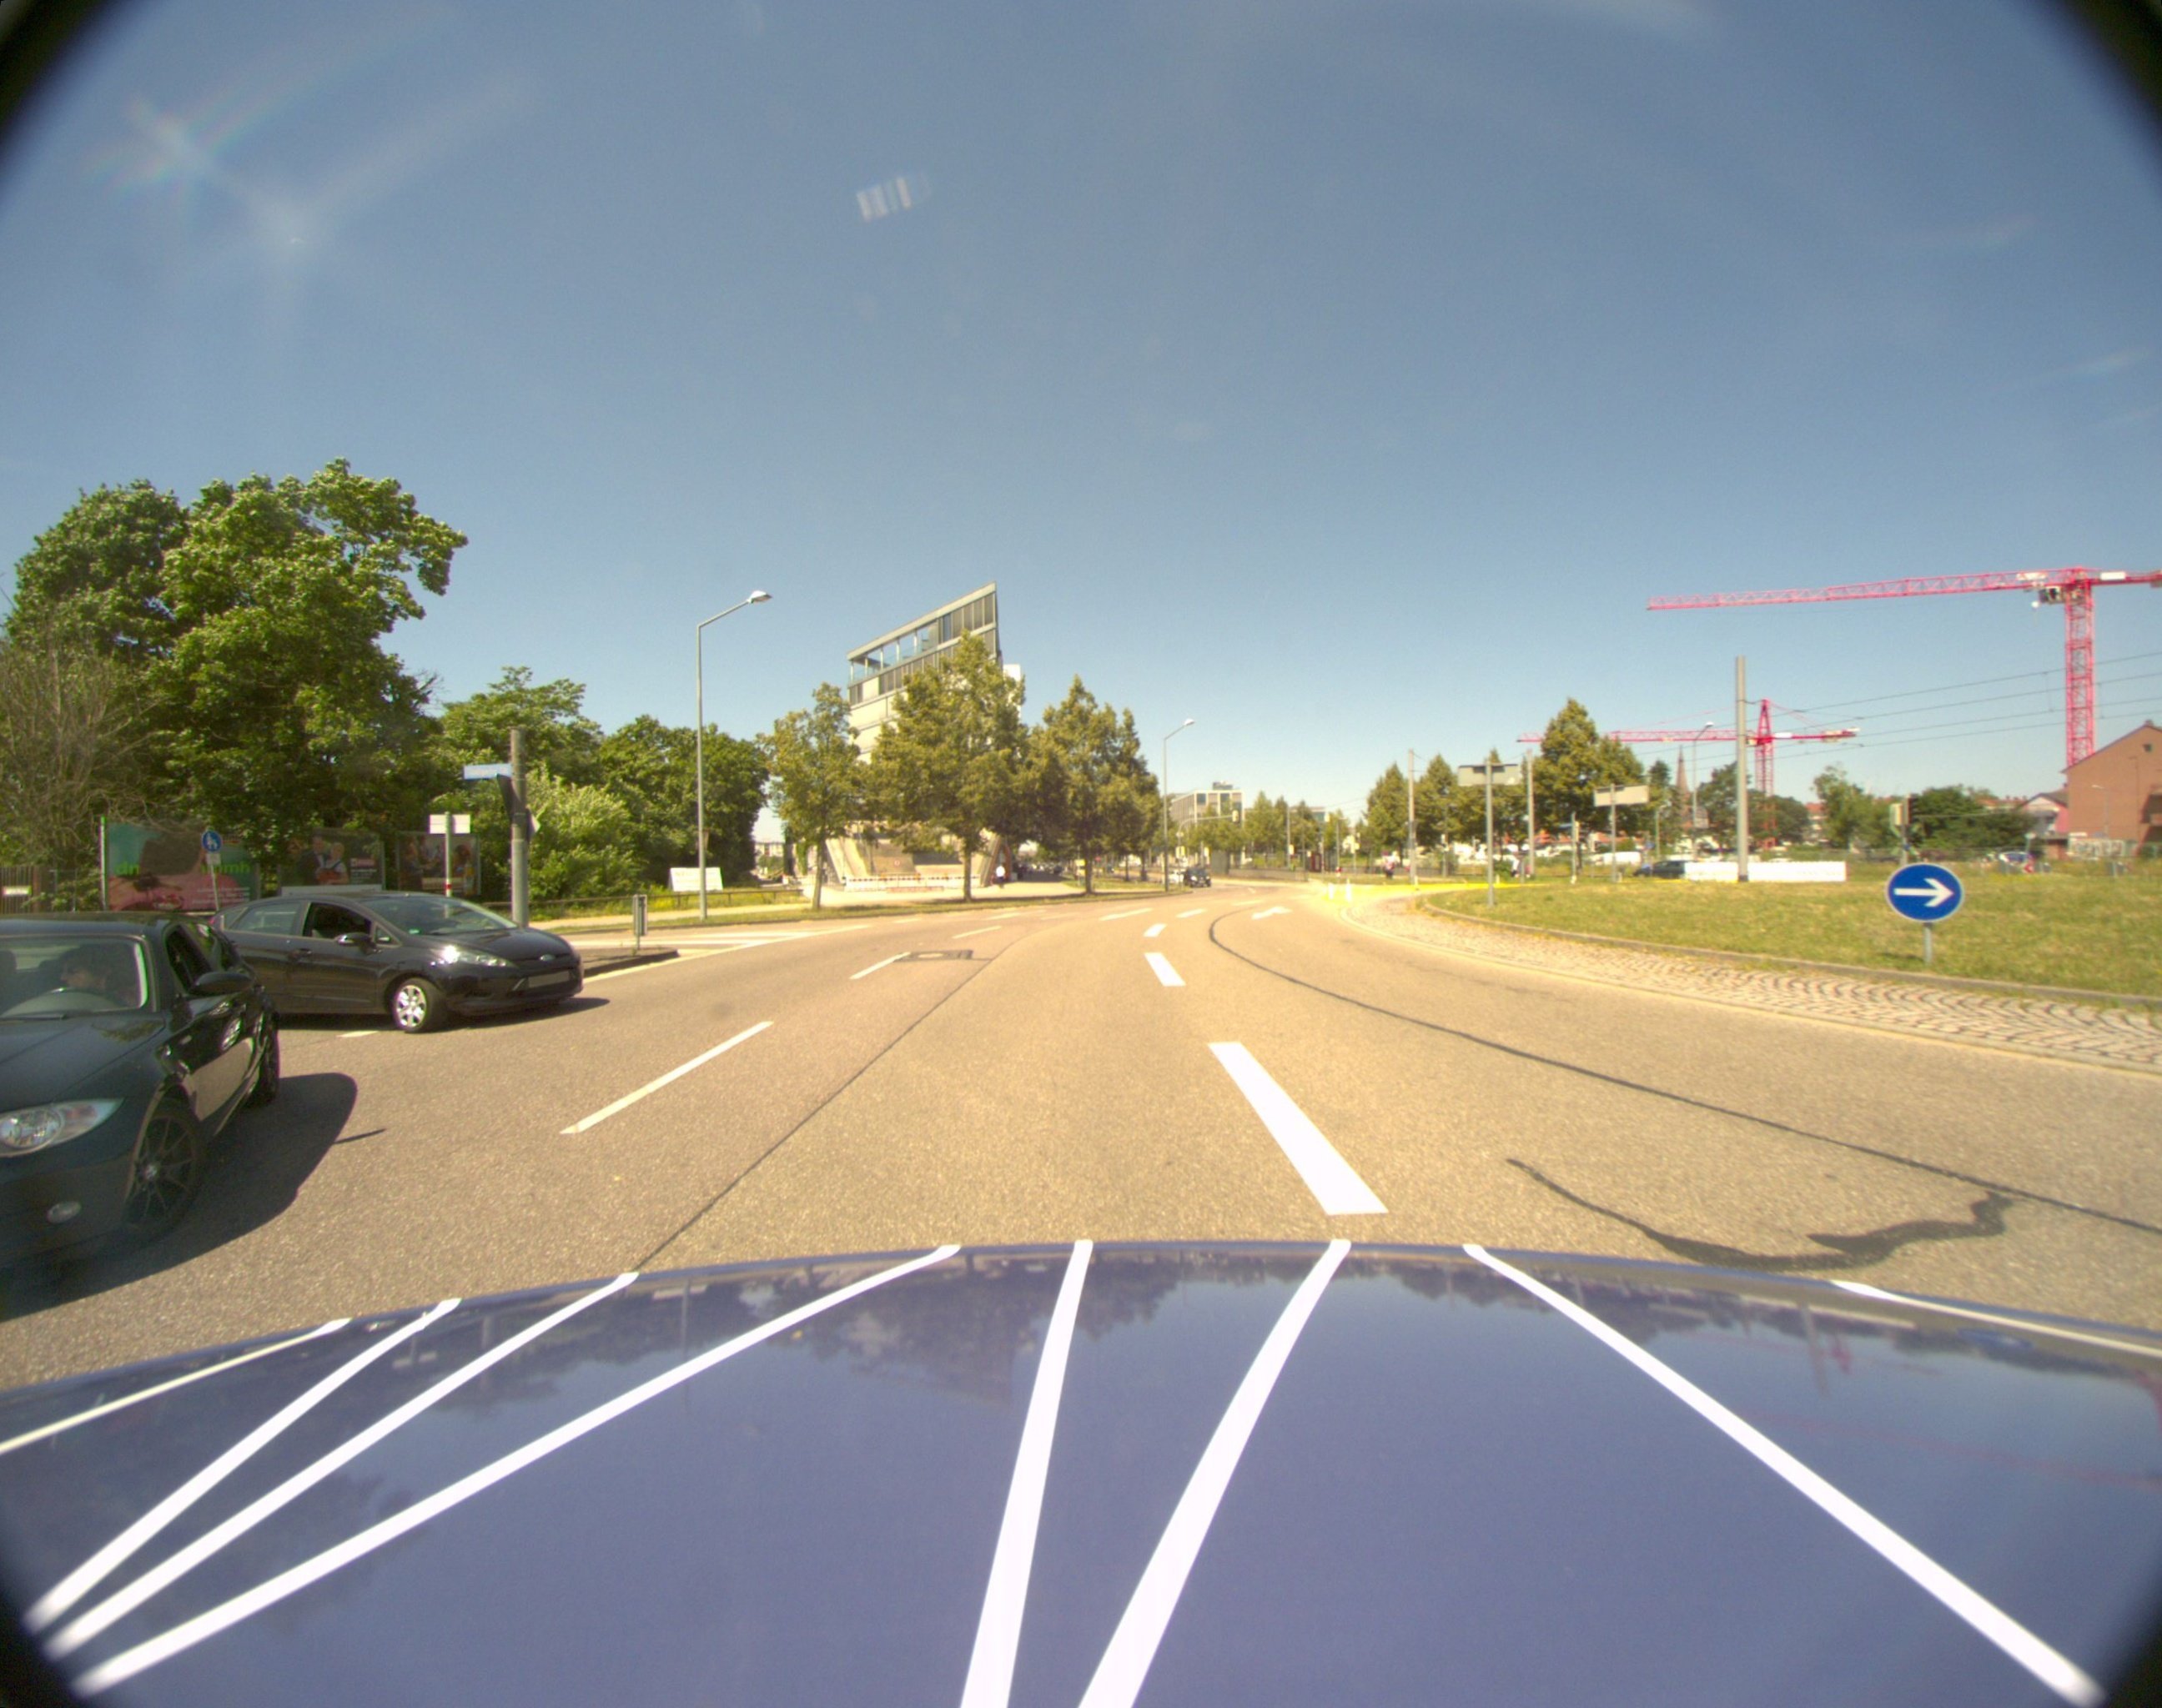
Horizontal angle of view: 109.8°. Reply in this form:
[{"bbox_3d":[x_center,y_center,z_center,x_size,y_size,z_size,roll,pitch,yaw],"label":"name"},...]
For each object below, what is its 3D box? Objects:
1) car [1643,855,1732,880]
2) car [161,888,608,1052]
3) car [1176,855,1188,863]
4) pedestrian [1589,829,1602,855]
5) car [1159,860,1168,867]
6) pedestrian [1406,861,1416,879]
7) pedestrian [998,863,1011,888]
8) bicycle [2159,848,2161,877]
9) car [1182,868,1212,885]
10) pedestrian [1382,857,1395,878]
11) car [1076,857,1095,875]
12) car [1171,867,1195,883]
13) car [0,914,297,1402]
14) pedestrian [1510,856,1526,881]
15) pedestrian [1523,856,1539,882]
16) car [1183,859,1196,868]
[{"bbox_3d":[38.605,0.810,48.428,2.004,1.456,3.989,-1,1,-35],"label":"car"},{"bbox_3d":[-7.536,1.175,8.363,3.813,1.499,1.635,-1,0,11],"label":"car"},{"bbox_3d":[25.289,1.241,189.714,2.000,2.002,3.898,0,1,-7],"label":"car"},{"bbox_3d":[39.167,-0.919,57.852,0.594,2.002,0.603,0,2,-5],"label":"pedestrian"},{"bbox_3d":[23.119,2.647,213.239,1.999,2.002,3.997,0,1,-5],"label":"car"},{"bbox_3d":[25.724,1.244,59.205,0.596,1.398,0.544,-1,0,13],"label":"pedestrian"},{"bbox_3d":[-5.891,1.650,58.640,0.833,1.858,0.612,0,2,9],"label":"pedestrian"},{"bbox_3d":[62.363,0.500,42.627,0.561,1.675,2.080,-2,2,-41],"label":"bicycle"},{"bbox_3d":[9.447,1.840,62.123,1.740,1.205,3.564,0,1,-3],"label":"car"},{"bbox_3d":[24.266,1.095,60.006,0.760,1.630,0.781,0,2,7],"label":"pedestrian"},{"bbox_3d":[0.599,1.654,105.468,2.000,2.493,3.998,-1,0,-8],"label":"car"},{"bbox_3d":[9.016,1.860,67.306,1.576,1.218,3.321,0,1,-3],"label":"car"},{"bbox_3d":[-5.433,1.152,3.594,1.806,1.432,3.989,-2,0,-38],"label":"car"},{"bbox_3d":[33.240,1.092,57.854,0.813,1.888,0.732,0,2,7],"label":"pedestrian"},{"bbox_3d":[34.192,1.145,57.744,0.745,2.002,0.732,0,2,7],"label":"pedestrian"},{"bbox_3d":[25.672,2.289,179.720,2.000,2.002,3.898,0,1,-7],"label":"car"}]
